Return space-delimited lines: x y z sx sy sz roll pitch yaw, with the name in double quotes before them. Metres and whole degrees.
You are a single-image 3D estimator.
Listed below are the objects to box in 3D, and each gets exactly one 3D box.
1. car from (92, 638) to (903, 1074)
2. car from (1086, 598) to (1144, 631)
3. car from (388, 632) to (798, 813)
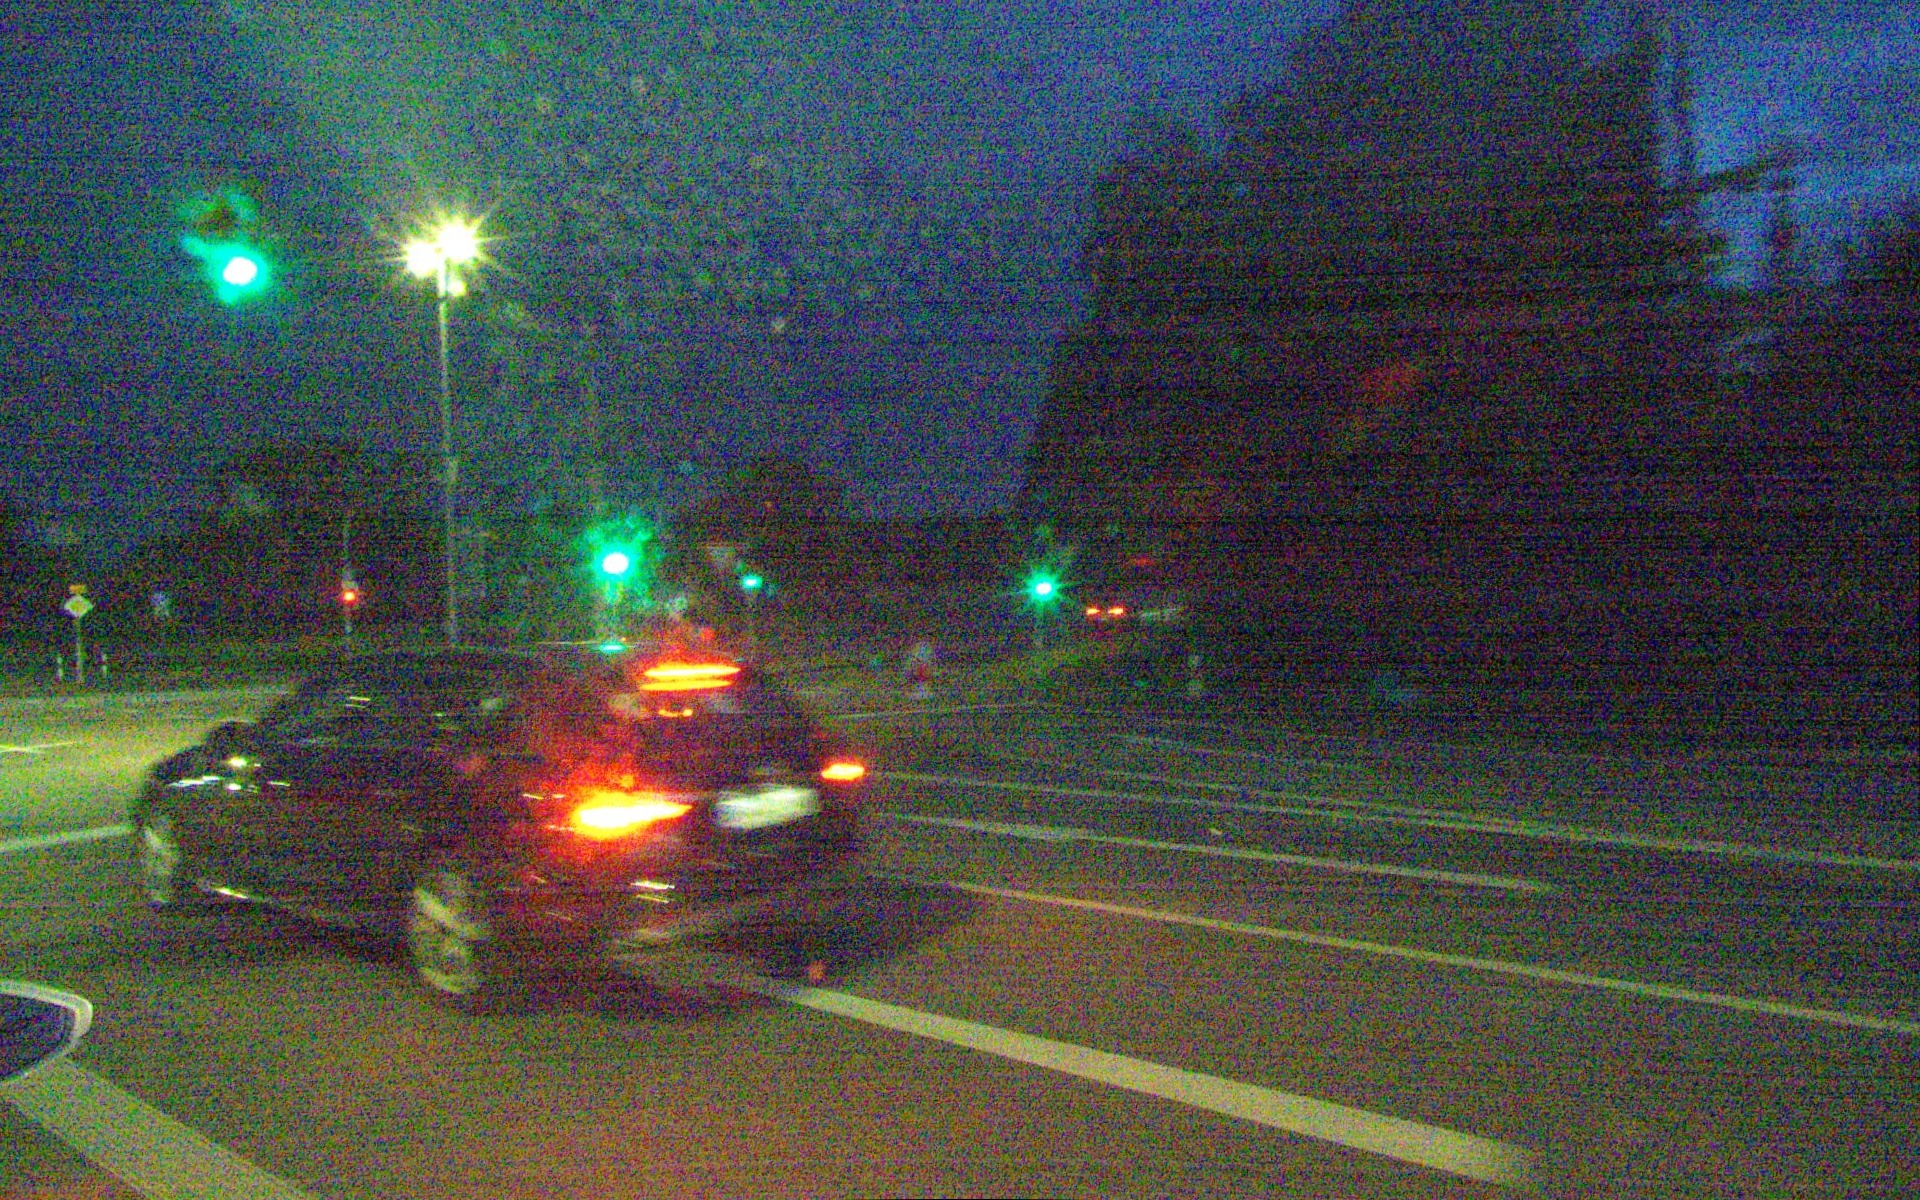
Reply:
"car" -2.636 0.962 5.336 4.470 1.461 1.788 -2 -3 32
"car" 8.436 0.783 54.387 1.715 1.593 4.040 -4 -1 30
"car" -3.713 1.079 9.946 4.057 1.462 1.617 -2 -1 30
